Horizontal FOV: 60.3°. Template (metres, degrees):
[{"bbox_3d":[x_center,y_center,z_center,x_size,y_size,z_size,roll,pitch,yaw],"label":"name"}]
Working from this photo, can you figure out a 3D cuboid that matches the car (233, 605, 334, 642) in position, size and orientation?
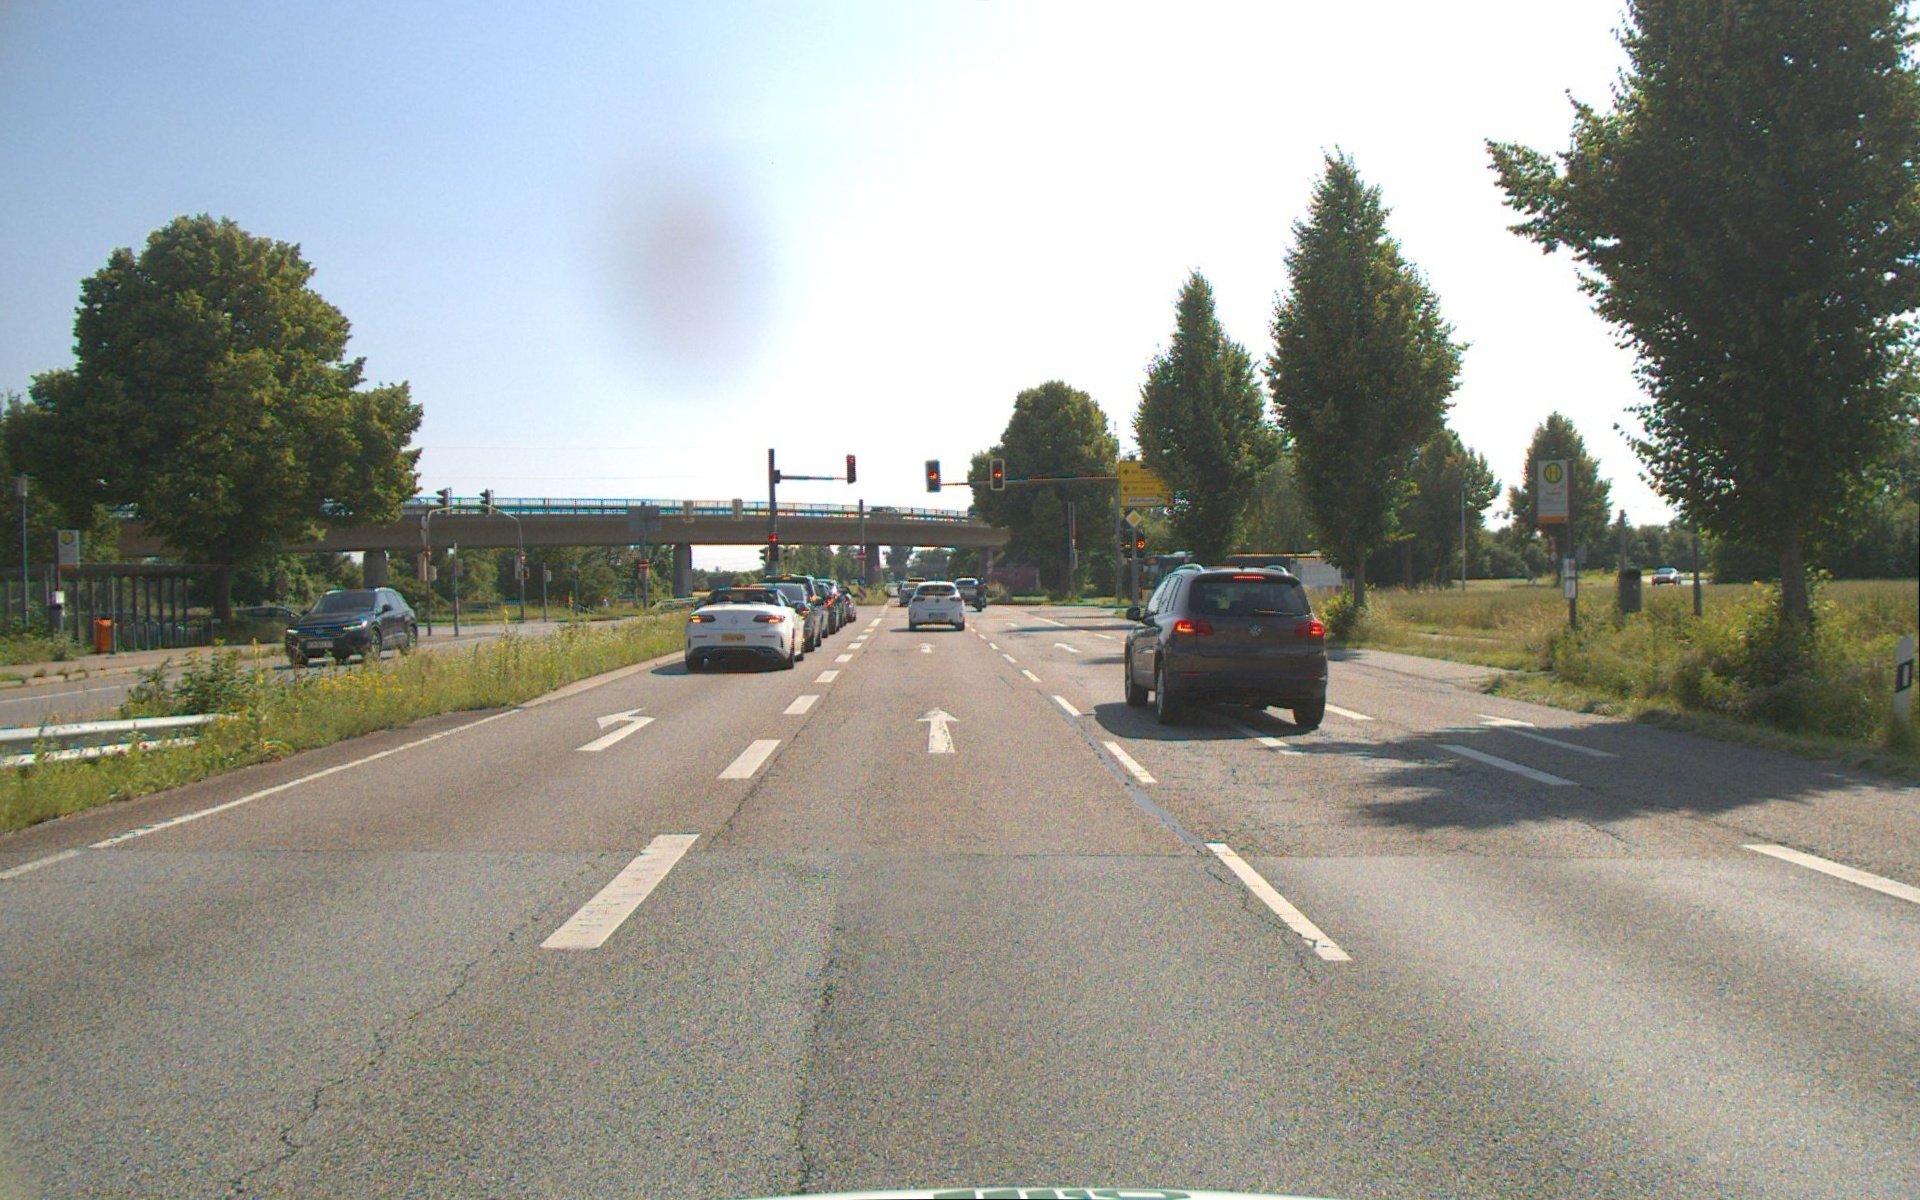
[{"bbox_3d":[-30.018,1.037,73.465,4.056,1.449,1.859,-2,0,-22],"label":"car"}]

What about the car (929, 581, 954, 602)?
[{"bbox_3d":[-1.601,-0.700,140.906,1.953,1.660,3.998,1,0,-2],"label":"car"}]

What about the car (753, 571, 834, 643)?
[{"bbox_3d":[-4.217,0.138,42.501,1.706,1.701,4.356,-1,1,-2],"label":"car"}]

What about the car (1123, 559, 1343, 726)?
[{"bbox_3d":[2.977,0.418,18.865,1.720,1.684,4.145,0,0,-2],"label":"car"}]

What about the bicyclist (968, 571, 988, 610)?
[{"bbox_3d":[0.881,-0.487,82.409,0.986,1.919,1.327,0,0,-1],"label":"bicyclist"}]

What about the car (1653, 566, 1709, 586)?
[{"bbox_3d":[53.687,-1.768,123.162,3.934,1.422,1.669,-1,1,-24],"label":"car"}]

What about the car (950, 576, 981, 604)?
[{"bbox_3d":[0.340,-0.621,103.217,1.835,1.668,4.000,1,1,-1],"label":"car"}]

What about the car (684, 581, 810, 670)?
[{"bbox_3d":[-3.701,0.395,29.418,1.767,1.450,4.640,0,1,-2],"label":"car"}]

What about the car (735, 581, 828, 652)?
[{"bbox_3d":[-3.867,0.318,36.375,1.680,1.434,4.354,0,1,-2],"label":"car"}]

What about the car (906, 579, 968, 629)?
[{"bbox_3d":[-0.690,0.099,50.639,1.813,1.486,4.000,0,1,-1],"label":"car"}]

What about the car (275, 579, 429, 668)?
[{"bbox_3d":[-14.425,0.493,39.572,1.954,1.872,4.951,-3,1,-3],"label":"car"}]

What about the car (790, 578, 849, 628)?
[{"bbox_3d":[-4.602,0.056,54.705,1.694,1.574,4.097,-1,1,-2],"label":"car"}]

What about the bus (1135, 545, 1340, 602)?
[{"bbox_3d":[16.271,-1.554,96.949,11.749,2.927,2.928,-2,0,-17],"label":"bus"}]

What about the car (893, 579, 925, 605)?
[{"bbox_3d":[-3.053,-0.480,99.356,1.835,1.518,4.000,-1,1,-1],"label":"car"}]

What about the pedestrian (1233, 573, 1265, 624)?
[{"bbox_3d":[10.806,-0.064,61.812,0.884,1.871,1.194,-1,1,-4],"label":"pedestrian"}]

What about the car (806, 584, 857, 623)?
[{"bbox_3d":[-4.724,0.098,61.240,1.640,1.358,4.097,-1,1,-2],"label":"car"}]

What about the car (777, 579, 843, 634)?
[{"bbox_3d":[-4.327,0.152,48.224,1.632,1.500,4.097,-1,1,-2],"label":"car"}]

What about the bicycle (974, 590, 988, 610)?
[{"bbox_3d":[1.027,-0.010,81.944,0.588,1.000,2.360,-1,0,-2],"label":"bicycle"}]

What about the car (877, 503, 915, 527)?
[{"bbox_3d":[-6.007,-7.967,154.749,1.954,1.983,3.812,1,0,26],"label":"car"}]
